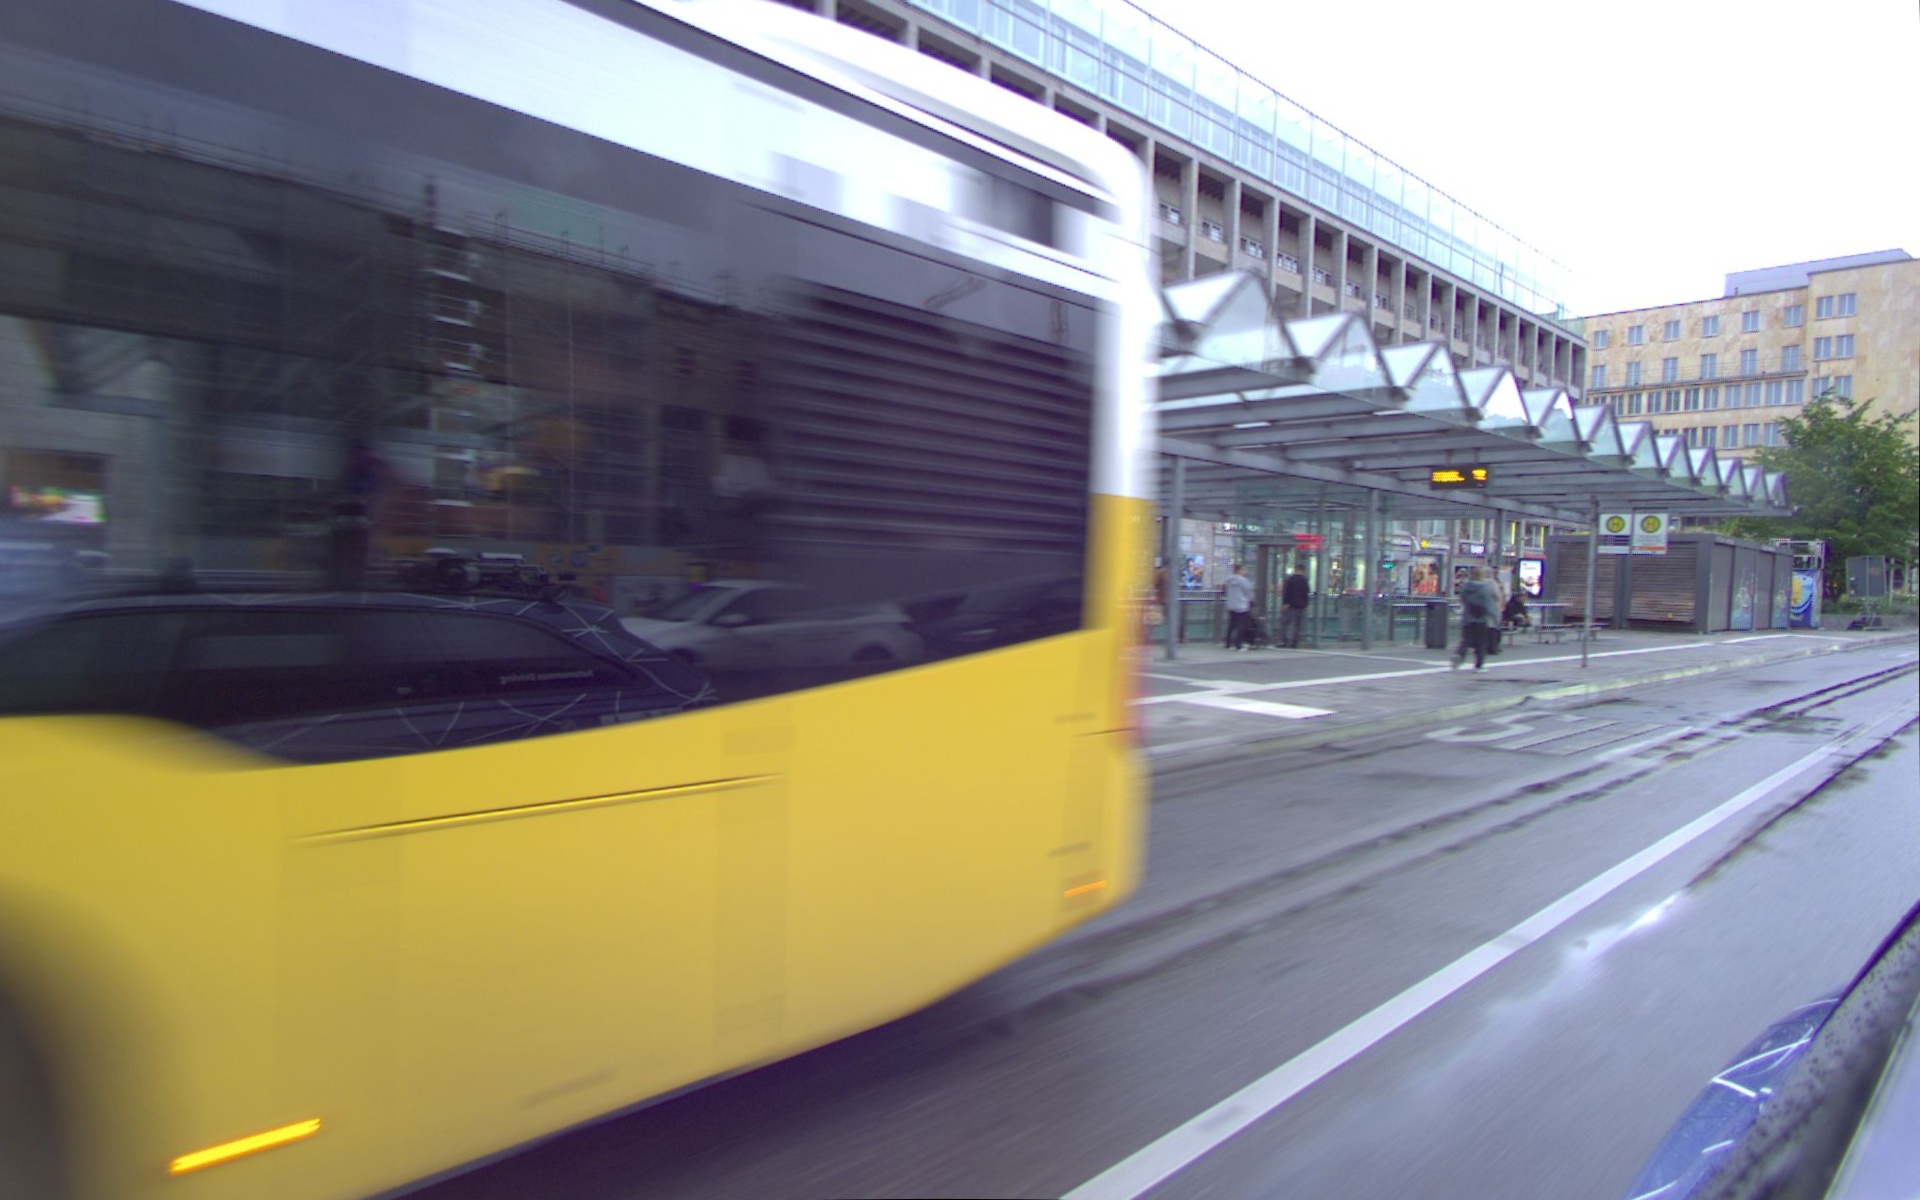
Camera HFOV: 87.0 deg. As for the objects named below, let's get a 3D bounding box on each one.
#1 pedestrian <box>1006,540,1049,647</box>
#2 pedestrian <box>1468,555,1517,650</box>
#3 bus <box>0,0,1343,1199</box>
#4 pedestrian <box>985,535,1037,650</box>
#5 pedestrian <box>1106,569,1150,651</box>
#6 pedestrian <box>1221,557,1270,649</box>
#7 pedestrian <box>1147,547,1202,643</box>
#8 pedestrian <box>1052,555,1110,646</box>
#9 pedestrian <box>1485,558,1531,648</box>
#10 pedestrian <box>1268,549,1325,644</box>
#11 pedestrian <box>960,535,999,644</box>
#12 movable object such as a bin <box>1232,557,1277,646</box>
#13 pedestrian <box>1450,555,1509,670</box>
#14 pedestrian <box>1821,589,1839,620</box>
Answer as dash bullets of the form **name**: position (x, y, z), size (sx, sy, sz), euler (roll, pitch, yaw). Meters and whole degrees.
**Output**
- **pedestrian**: position (1.212, -0.127, 18.021), size (0.600, 1.853, 0.589), euler (1, 1, 21)
- **pedestrian**: position (10.666, 0.039, 20.269), size (0.564, 1.859, 0.677), euler (0, 1, -38)
- **bus**: position (-3.093, -0.179, 1.725), size (8.976, 3.288, 3.147), euler (-1, 2, -41)
- **pedestrian**: position (0.853, -0.136, 17.056), size (0.613, 1.883, 0.609), euler (0, 1, -32)
- **pedestrian**: position (2.937, 0.158, 17.650), size (0.552, 1.394, 0.500), euler (2, 1, 45)
- **pedestrian**: position (5.387, 0.045, 19.071), size (0.754, 1.675, 0.674), euler (1, 1, 26)
- **pedestrian**: position (4.285, -0.111, 20.196), size (0.749, 1.871, 0.751), euler (0, 1, -44)
- **pedestrian**: position (2.225, -0.013, 18.628), size (0.751, 1.628, 0.749), euler (2, 1, 45)
- **pedestrian**: position (11.479, 0.048, 21.201), size (0.630, 1.859, 0.629), euler (0, 1, -38)
- **pedestrian**: position (6.765, -0.071, 20.358), size (0.746, 1.859, 0.754), euler (0, 1, -25)
- **pedestrian**: position (0.344, -0.195, 17.958), size (0.579, 1.897, 0.599), euler (1, 1, -8)
- **movable object such as a bin**: position (5.775, 0.017, 19.841), size (0.658, 1.673, 1.039), euler (1, 1, 26)
- **pedestrian**: position (8.057, 0.174, 15.694), size (0.755, 1.711, 0.989), euler (1, 1, 28)
- **pedestrian**: position (51.177, 0.245, 59.520), size (0.823, 1.773, 0.698), euler (0, 1, -42)
